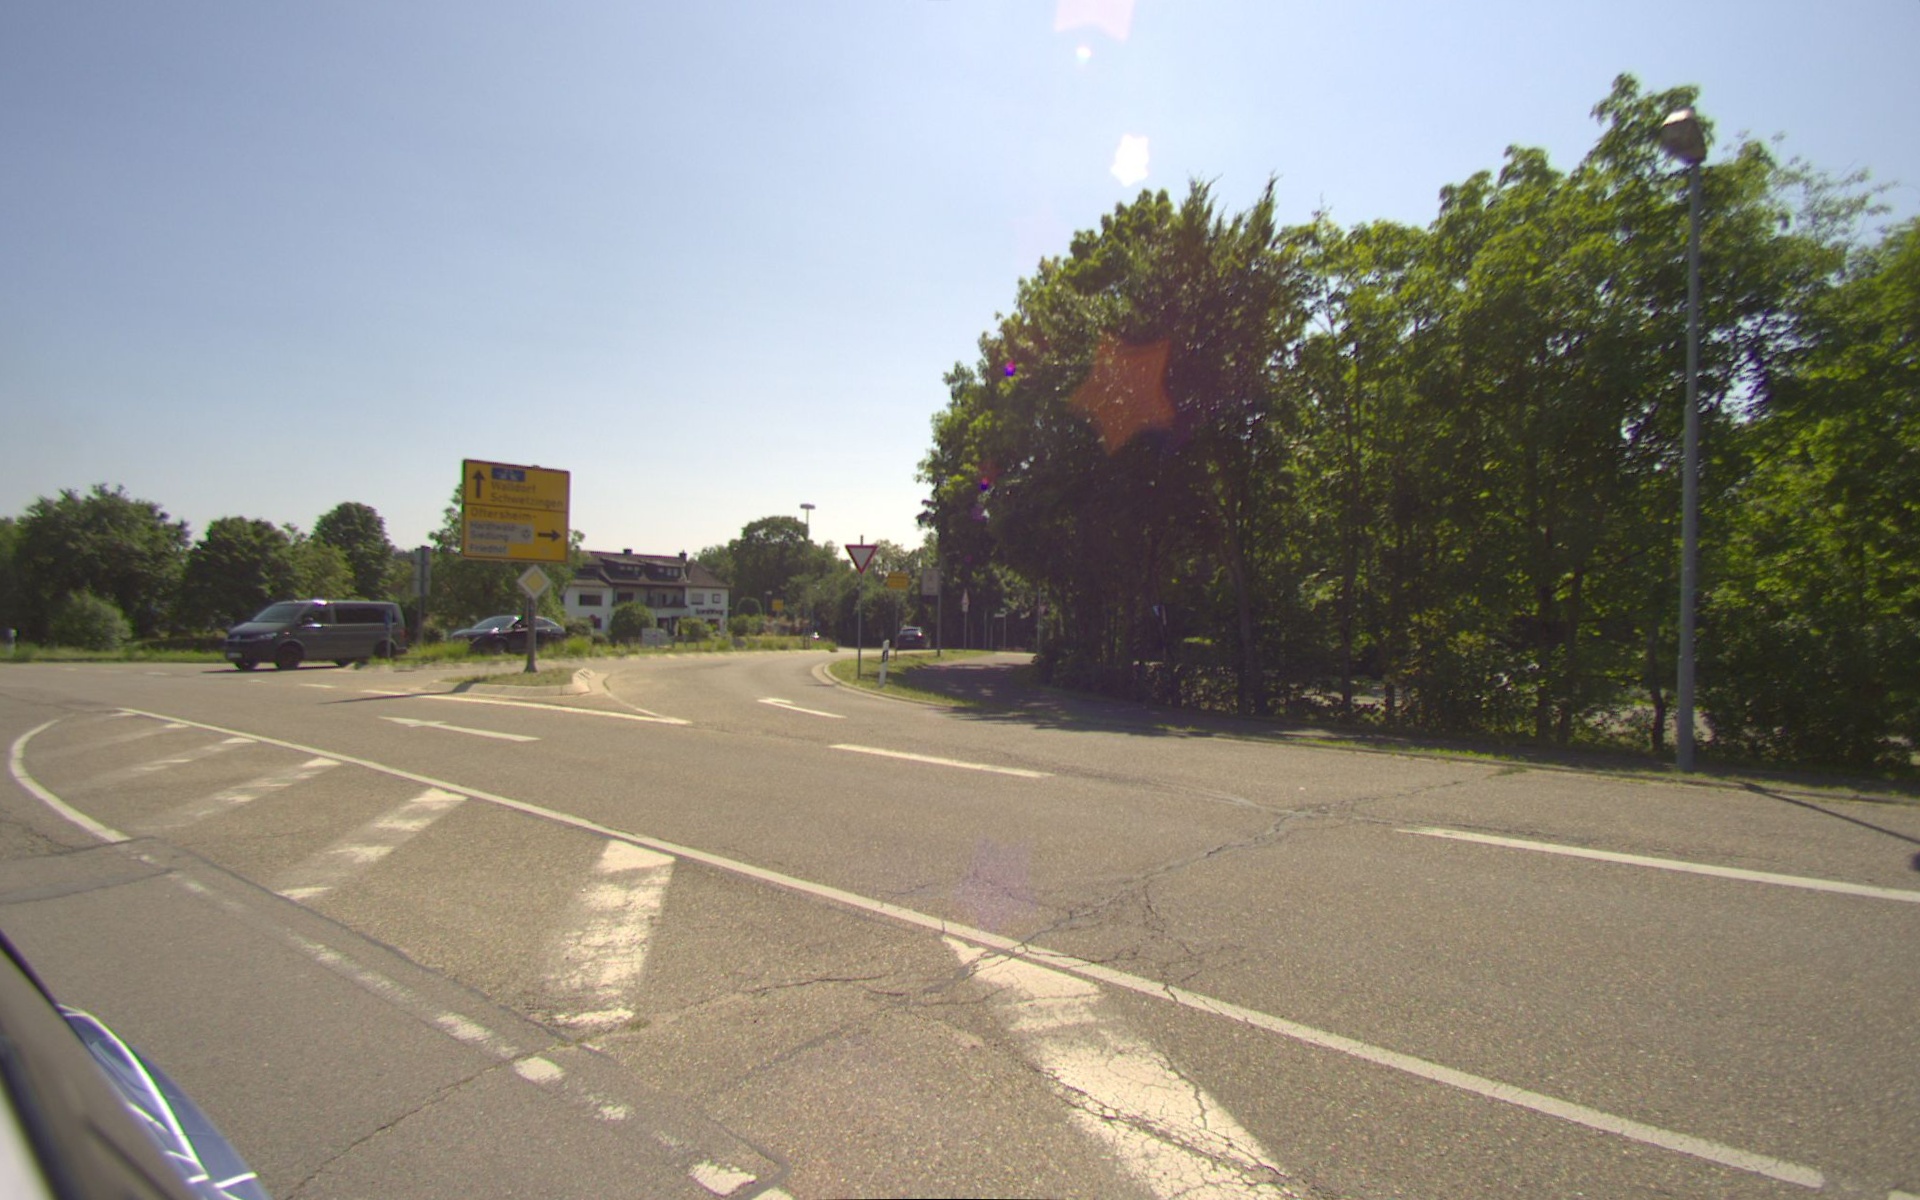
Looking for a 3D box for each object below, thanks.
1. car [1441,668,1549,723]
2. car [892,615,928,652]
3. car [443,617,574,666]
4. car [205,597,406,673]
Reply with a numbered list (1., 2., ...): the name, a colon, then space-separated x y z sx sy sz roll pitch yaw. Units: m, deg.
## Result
1. car: 17.418 3.049 32.857 4.054 1.504 1.757 2 -1 -41
2. car: -2.960 1.977 60.523 1.972 2.029 4.000 -1 0 0
3. car: -16.147 1.453 36.421 1.737 1.658 4.344 -2 -2 22
4. car: -18.953 1.011 29.604 1.985 2.029 4.734 -1 -2 19
